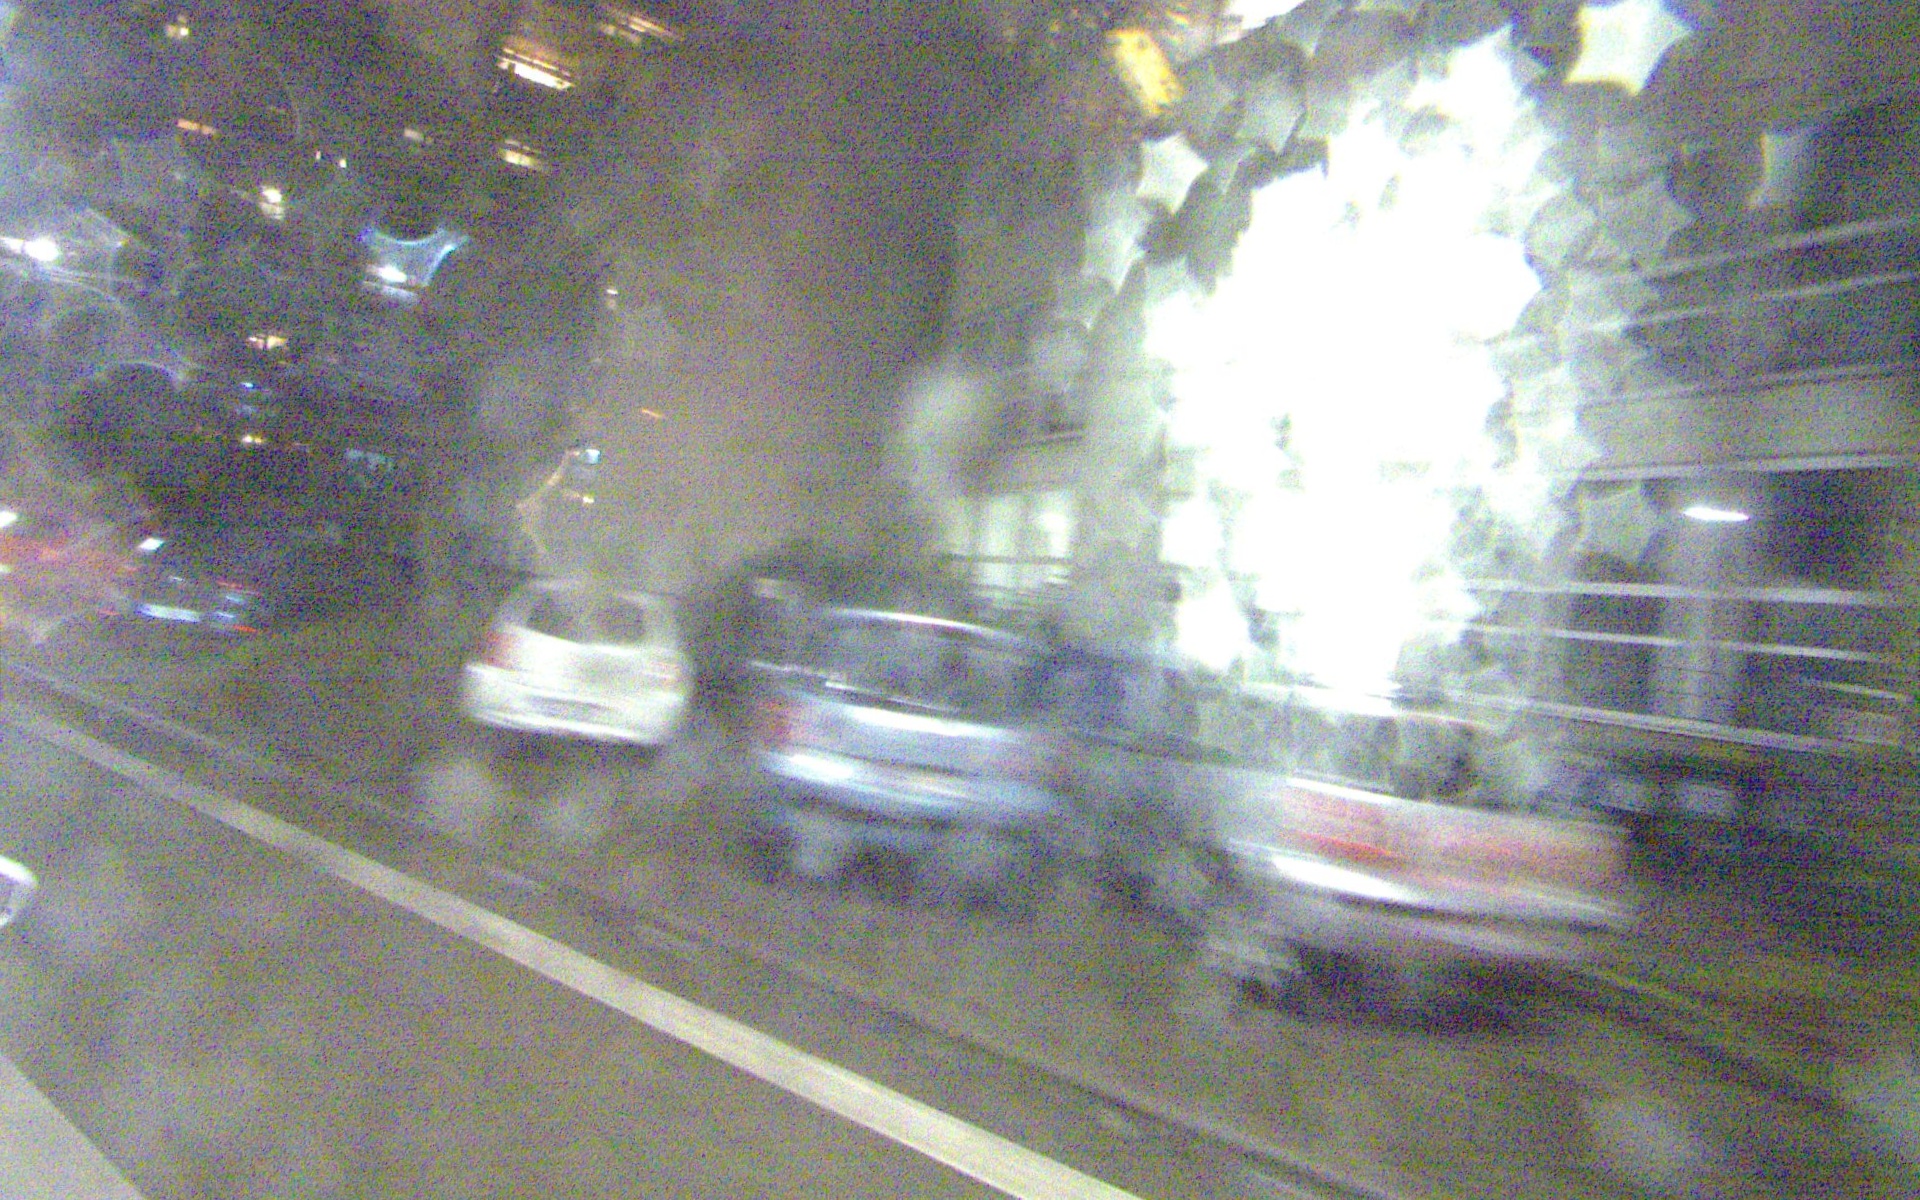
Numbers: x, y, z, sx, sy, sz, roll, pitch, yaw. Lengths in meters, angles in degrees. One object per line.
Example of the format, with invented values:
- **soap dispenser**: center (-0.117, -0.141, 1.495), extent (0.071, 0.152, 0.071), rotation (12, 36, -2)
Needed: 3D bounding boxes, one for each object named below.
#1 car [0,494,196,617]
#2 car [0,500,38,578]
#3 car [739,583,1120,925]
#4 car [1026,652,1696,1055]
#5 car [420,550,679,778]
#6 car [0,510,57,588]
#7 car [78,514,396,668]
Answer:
- **car**: center (-14.420, -0.688, 16.128), extent (2.025, 1.641, 3.819), rotation (9, -3, -16)
- **car**: center (-22.499, -1.578, 21.573), extent (1.999, 1.717, 4.241), rotation (8, -3, -13)
- **car**: center (-0.436, 0.860, 7.087), extent (1.791, 1.551, 3.885), rotation (8, -2, -9)
- **car**: center (1.907, 1.211, 6.150), extent (1.793, 1.449, 3.849), rotation (8, -3, -13)
- **car**: center (-3.689, 0.555, 9.686), extent (1.679, 1.550, 3.743), rotation (10, -3, -15)
- **car**: center (-19.652, -1.175, 18.947), extent (1.920, 1.470, 4.243), rotation (8, -3, -12)
- **car**: center (-8.923, -0.046, 12.856), extent (1.610, 1.446, 3.825), rotation (8, -2, -9)
